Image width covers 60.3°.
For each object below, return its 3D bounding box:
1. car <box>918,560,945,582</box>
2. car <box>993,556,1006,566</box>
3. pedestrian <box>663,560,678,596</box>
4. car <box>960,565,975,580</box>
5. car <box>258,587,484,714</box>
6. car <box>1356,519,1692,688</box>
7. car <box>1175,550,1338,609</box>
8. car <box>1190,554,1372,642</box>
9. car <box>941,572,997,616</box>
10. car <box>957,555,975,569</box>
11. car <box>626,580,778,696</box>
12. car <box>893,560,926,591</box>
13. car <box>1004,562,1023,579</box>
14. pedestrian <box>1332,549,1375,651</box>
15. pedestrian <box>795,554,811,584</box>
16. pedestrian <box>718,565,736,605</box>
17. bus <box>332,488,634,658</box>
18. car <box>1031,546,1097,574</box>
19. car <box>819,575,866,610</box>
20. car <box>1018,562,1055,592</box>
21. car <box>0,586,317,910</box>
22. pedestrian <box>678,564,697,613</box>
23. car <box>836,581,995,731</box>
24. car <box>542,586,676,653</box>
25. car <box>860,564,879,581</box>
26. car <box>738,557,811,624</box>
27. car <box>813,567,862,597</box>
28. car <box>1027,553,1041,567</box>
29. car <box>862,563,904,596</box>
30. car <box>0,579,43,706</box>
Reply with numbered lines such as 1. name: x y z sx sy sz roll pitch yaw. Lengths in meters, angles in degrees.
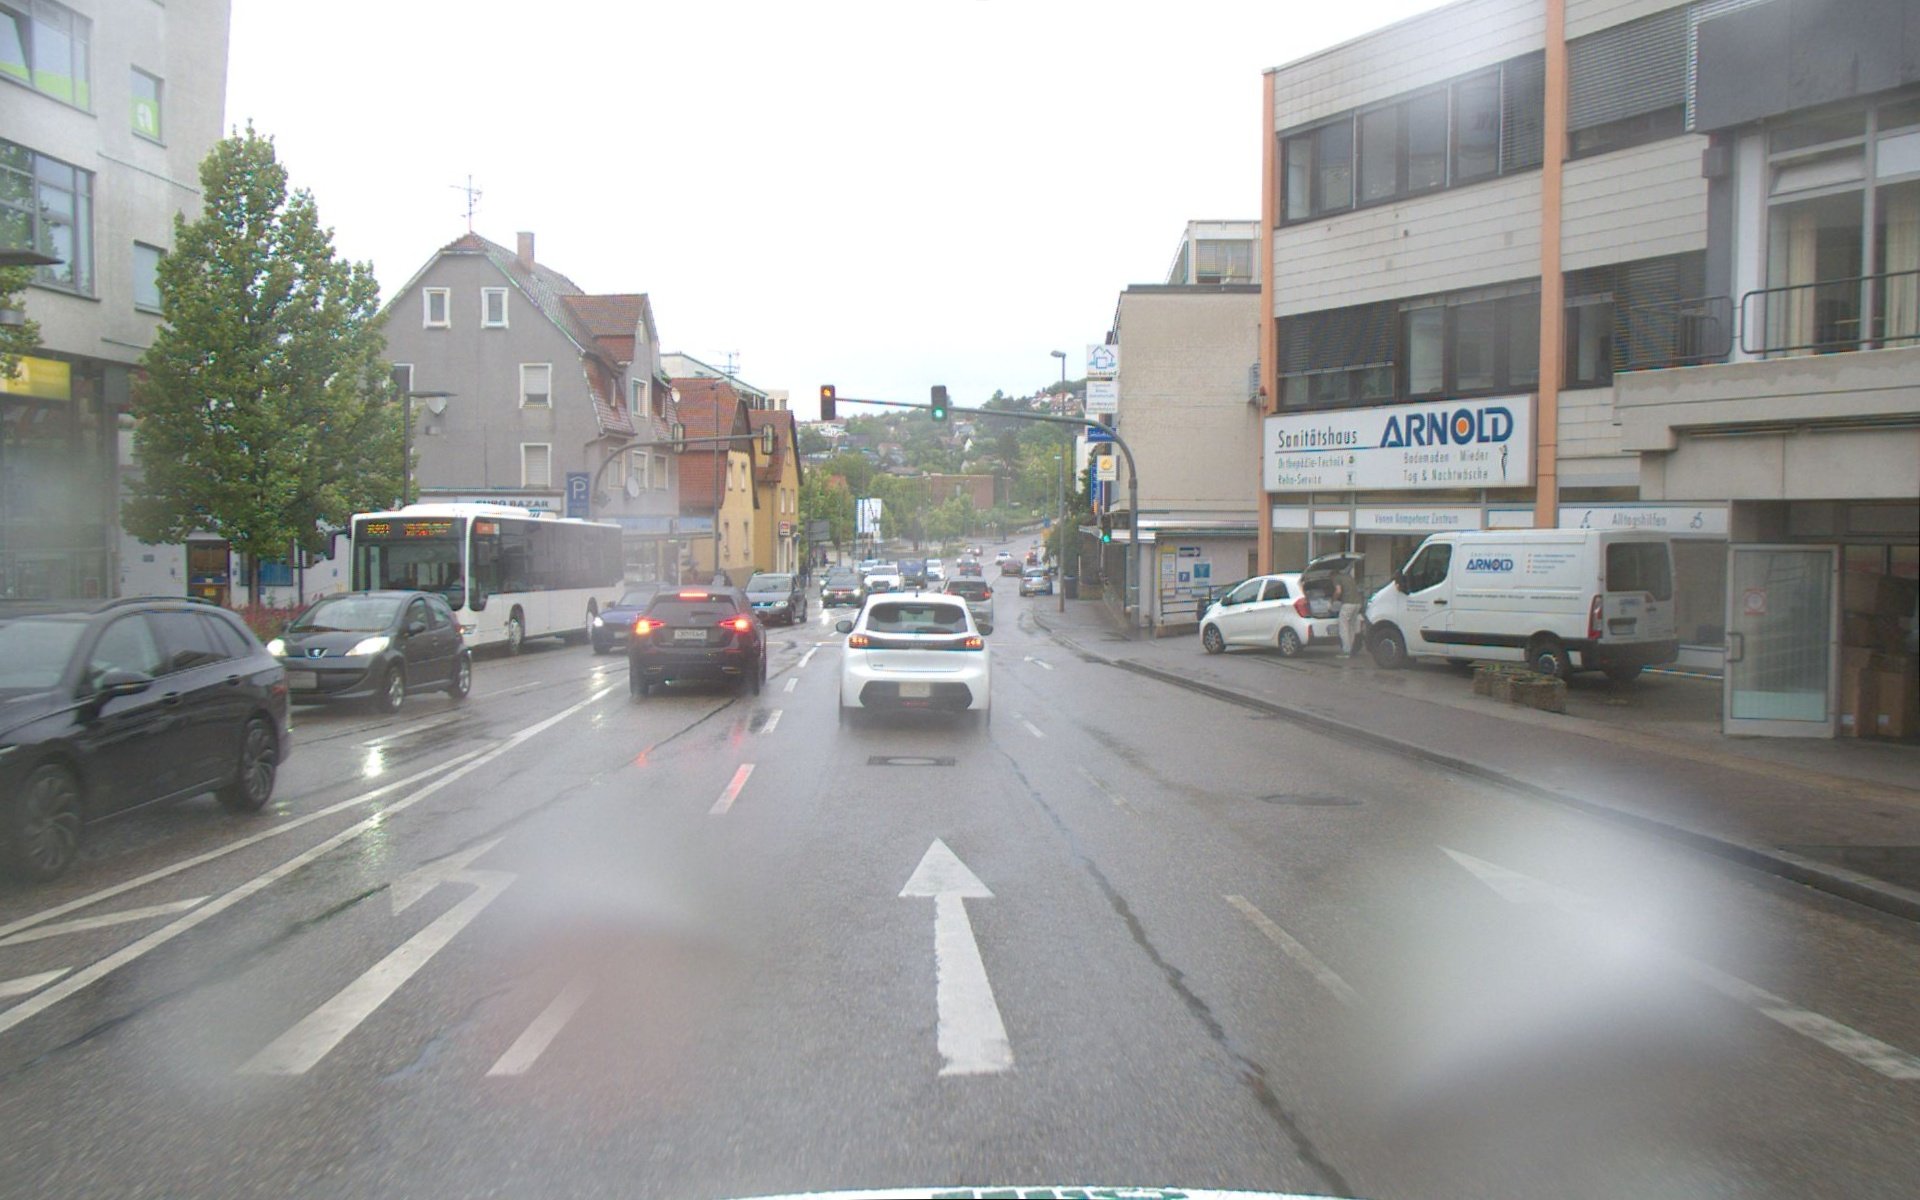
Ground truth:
1. car: -2.249 -2.307 131.099 1.839 1.637 4.720 -1 1 2
2. car: 4.633 -4.591 193.950 1.356 1.146 2.611 -1 1 3
3. pedestrian: -12.661 -0.968 72.325 0.532 1.584 0.446 -1 1 3
4. car: 0.636 -2.233 133.310 1.188 1.176 2.270 -1 1 0
5. car: -7.342 0.578 20.925 1.532 1.399 3.283 -2 1 2
6. car: 8.711 -0.076 25.991 1.983 2.246 4.820 -4 6 -33
7. car: 8.158 -0.591 45.417 4.341 1.435 1.719 -3 2 -31
8. car: 6.007 -0.049 31.271 1.592 1.487 3.395 -4 2 -26
9. car: 0.280 -0.215 55.340 1.706 1.318 3.333 -1 2 -2
10. car: 0.680 -4.237 183.949 1.731 1.438 4.527 -1 1 2
11. car: -3.621 0.476 23.837 1.681 1.475 4.196 -1 1 -3
12. car: -3.312 -1.635 109.134 1.925 1.972 5.180 -1 1 0
13. car: 4.806 -2.650 148.481 1.698 1.412 3.353 0 2 1
14. pedestrian: 7.068 -0.007 29.684 0.581 1.797 0.600 -1 2 -5
15. pedestrian: -9.623 -1.903 101.171 0.784 1.819 0.882 -1 1 5
16. pedestrian: -8.453 -0.541 60.025 0.567 1.419 0.561 -1 1 0
17. bus: -10.170 -0.608 37.166 2.832 3.153 12.004 -1 1 2
18. car: 9.531 -3.636 151.173 2.259 2.423 6.581 -1 1 44
19. car: -5.188 -0.348 73.696 1.722 1.459 4.381 -1 1 0
20. car: 4.397 -1.304 96.056 1.970 1.650 4.361 0 0 0
21. car: -5.565 0.722 10.042 1.672 1.543 4.391 -1 1 -2
22. pedestrian: -10.952 -0.479 66.496 0.648 1.954 0.946 1 1 -5
23. car: -0.501 0.566 19.339 1.656 1.545 3.932 -1 1 -1
24. car: -7.444 0.385 35.457 1.857 1.278 4.195 -1 1 1
25. car: -7.519 -2.275 137.856 1.342 1.336 3.042 -1 1 0
26. car: -5.906 -0.326 53.045 1.599 2.049 4.287 -1 1 3
27. car: -7.110 -1.068 96.431 1.959 1.646 4.952 -1 1 6
28. car: 8.870 -4.793 198.249 1.613 1.510 3.367 -1 1 2
29. car: -4.214 -1.134 91.419 2.055 1.742 4.850 -1 1 0
30. car: -13.325 0.582 20.202 1.953 1.624 4.000 -1 1 0
